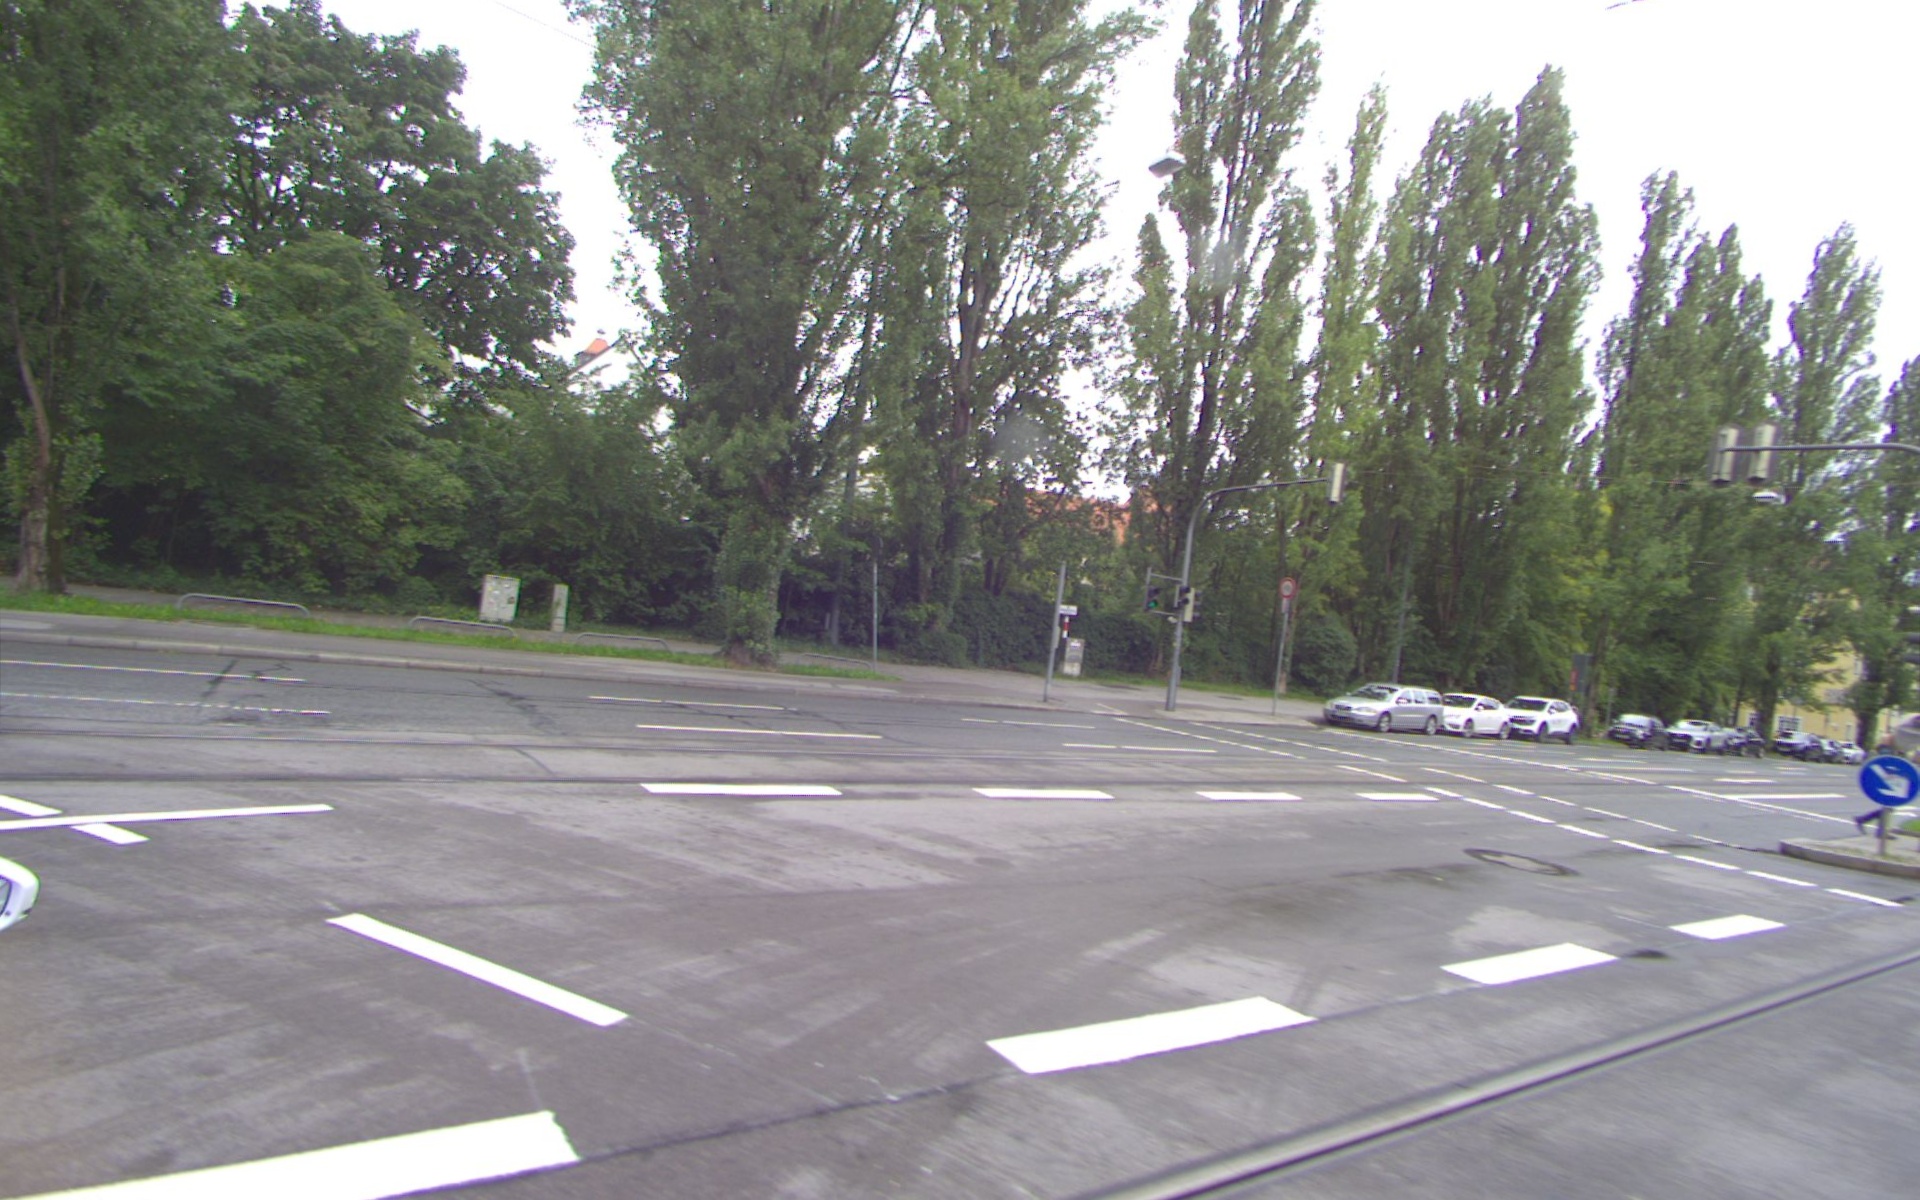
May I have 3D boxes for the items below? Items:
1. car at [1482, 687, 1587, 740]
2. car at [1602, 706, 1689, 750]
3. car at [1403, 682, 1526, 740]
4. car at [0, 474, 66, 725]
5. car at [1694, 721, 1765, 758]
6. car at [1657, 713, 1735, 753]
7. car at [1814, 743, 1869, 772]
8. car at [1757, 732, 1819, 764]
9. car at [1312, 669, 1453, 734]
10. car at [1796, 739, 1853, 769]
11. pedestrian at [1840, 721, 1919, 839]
[{"bbox_3d":[21.200,4.195,37.065,4.104,1.504,1.769,8,-1,-37],"label":"car"},{"bbox_3d":[29.663,5.546,43.511,4.104,1.504,1.769,8,-1,-37],"label":"car"},{"bbox_3d":[17.097,3.775,34.013,4.218,1.504,1.771,8,-1,-34],"label":"car"},{"bbox_3d":[-8.274,-0.332,5.747,4.616,1.567,1.870,8,-1,2],"label":"car"},{"bbox_3d":[39.278,7.113,51.321,4.104,1.504,1.769,8,-1,-37],"label":"car"},{"bbox_3d":[35.057,6.328,47.885,4.104,1.504,1.769,8,-1,-37],"label":"car"},{"bbox_3d":[57.441,10.294,65.532,4.104,1.504,1.769,8,-1,-37],"label":"car"},{"bbox_3d":[48.204,8.620,58.570,4.104,1.504,1.769,8,-1,-37],"label":"car"},{"bbox_3d":[12.947,3.111,30.749,4.311,1.504,1.771,8,-1,-34],"label":"car"},{"bbox_3d":[53.825,9.609,62.595,4.104,1.504,1.769,8,-1,-37],"label":"car"},{"bbox_3d":[14.413,2.787,15.696,0.689,1.681,0.552,8,-1,8],"label":"pedestrian"}]
